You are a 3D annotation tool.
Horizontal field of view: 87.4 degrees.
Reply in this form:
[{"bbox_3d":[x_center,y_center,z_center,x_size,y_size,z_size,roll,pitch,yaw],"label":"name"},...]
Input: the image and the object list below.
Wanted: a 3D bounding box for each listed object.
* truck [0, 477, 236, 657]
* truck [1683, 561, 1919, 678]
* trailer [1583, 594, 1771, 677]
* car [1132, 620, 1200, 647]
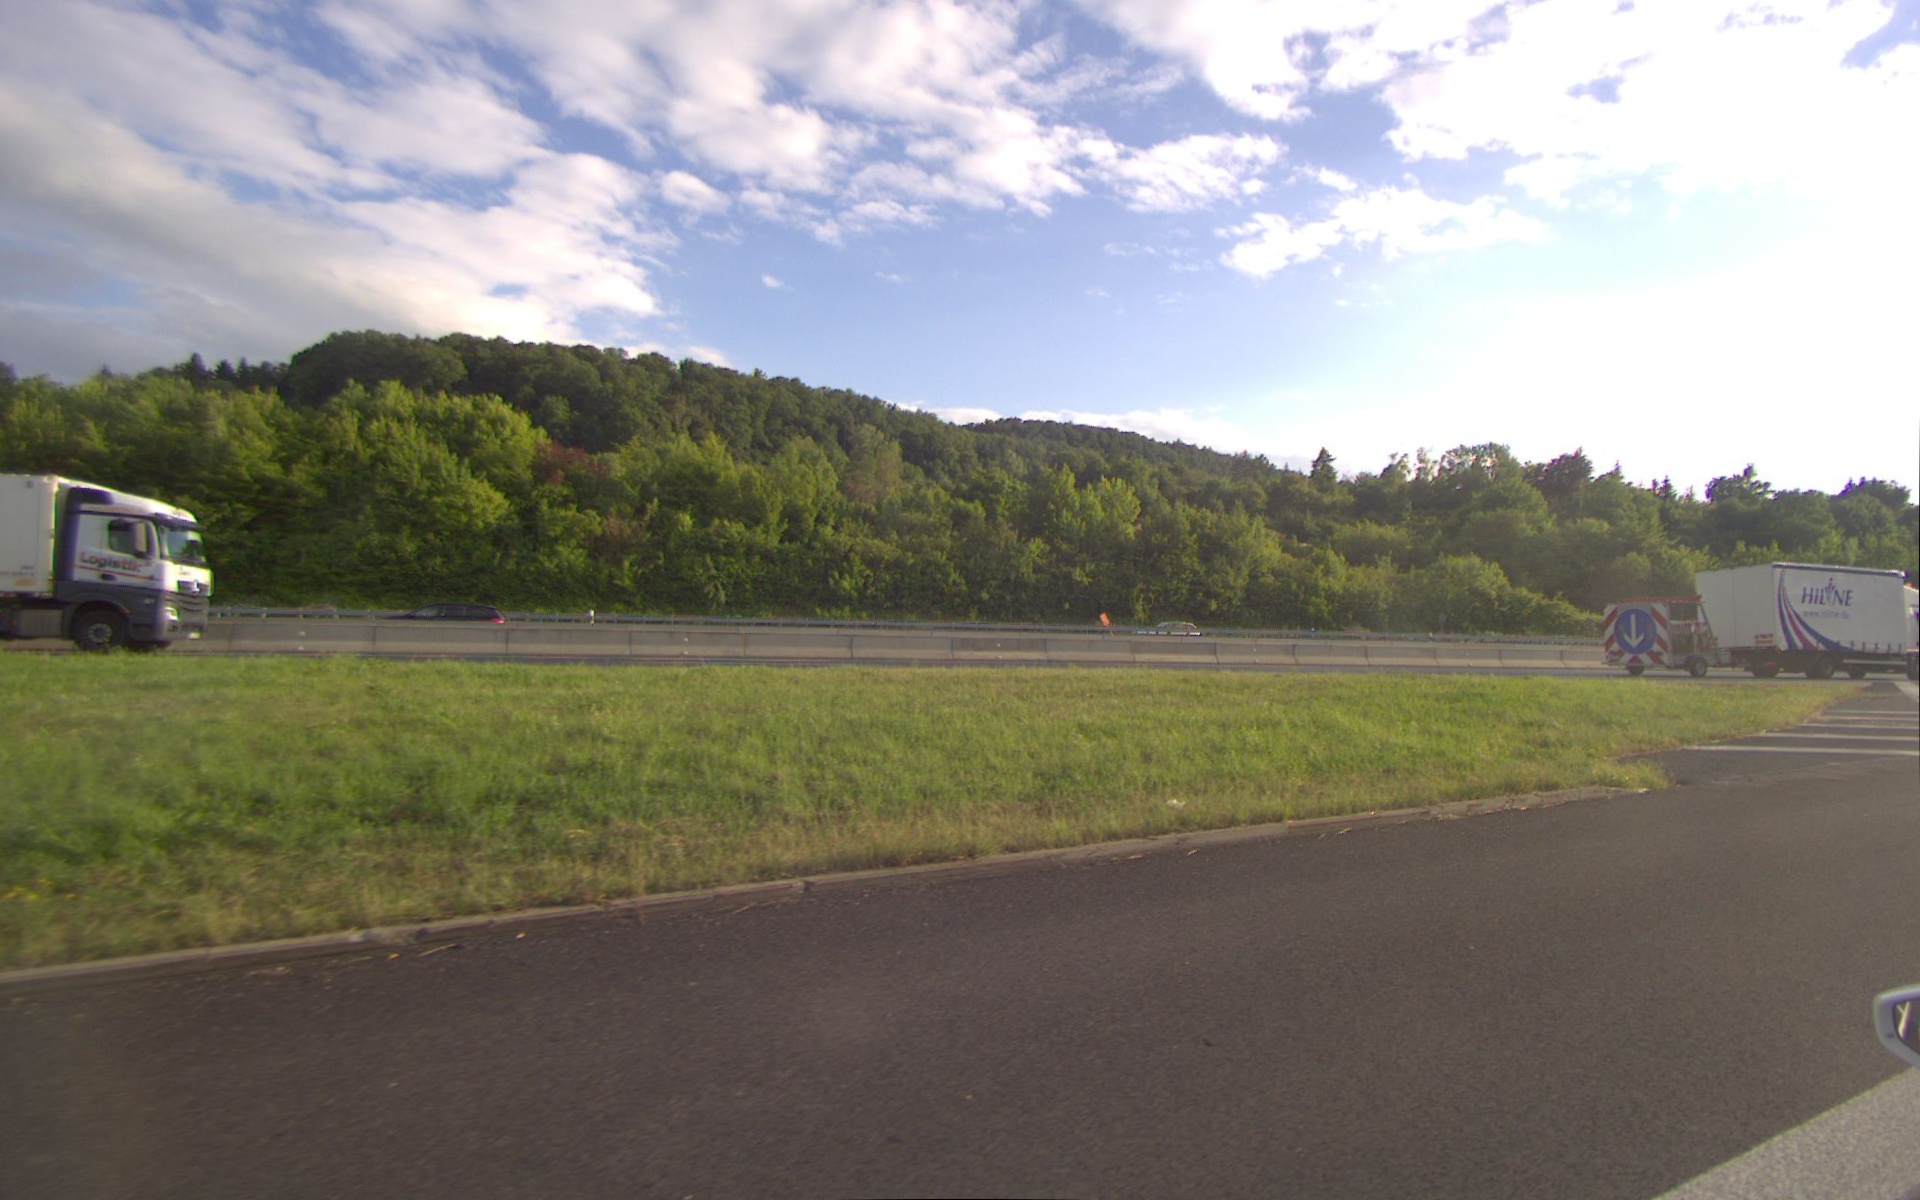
[{"bbox_3d":[-23.379,-0.800,23.493,9.989,4.000,2.768,2,0,-17],"label":"truck"},{"bbox_3d":[30.790,0.767,36.009,9.514,3.839,2.918,2,0,-19],"label":"truck"},{"bbox_3d":[24.028,1.174,33.729,4.740,2.612,2.918,2,-1,-19],"label":"trailer"},{"bbox_3d":[13.003,2.114,63.389,3.942,1.600,1.618,2,-1,-22],"label":"car"}]
